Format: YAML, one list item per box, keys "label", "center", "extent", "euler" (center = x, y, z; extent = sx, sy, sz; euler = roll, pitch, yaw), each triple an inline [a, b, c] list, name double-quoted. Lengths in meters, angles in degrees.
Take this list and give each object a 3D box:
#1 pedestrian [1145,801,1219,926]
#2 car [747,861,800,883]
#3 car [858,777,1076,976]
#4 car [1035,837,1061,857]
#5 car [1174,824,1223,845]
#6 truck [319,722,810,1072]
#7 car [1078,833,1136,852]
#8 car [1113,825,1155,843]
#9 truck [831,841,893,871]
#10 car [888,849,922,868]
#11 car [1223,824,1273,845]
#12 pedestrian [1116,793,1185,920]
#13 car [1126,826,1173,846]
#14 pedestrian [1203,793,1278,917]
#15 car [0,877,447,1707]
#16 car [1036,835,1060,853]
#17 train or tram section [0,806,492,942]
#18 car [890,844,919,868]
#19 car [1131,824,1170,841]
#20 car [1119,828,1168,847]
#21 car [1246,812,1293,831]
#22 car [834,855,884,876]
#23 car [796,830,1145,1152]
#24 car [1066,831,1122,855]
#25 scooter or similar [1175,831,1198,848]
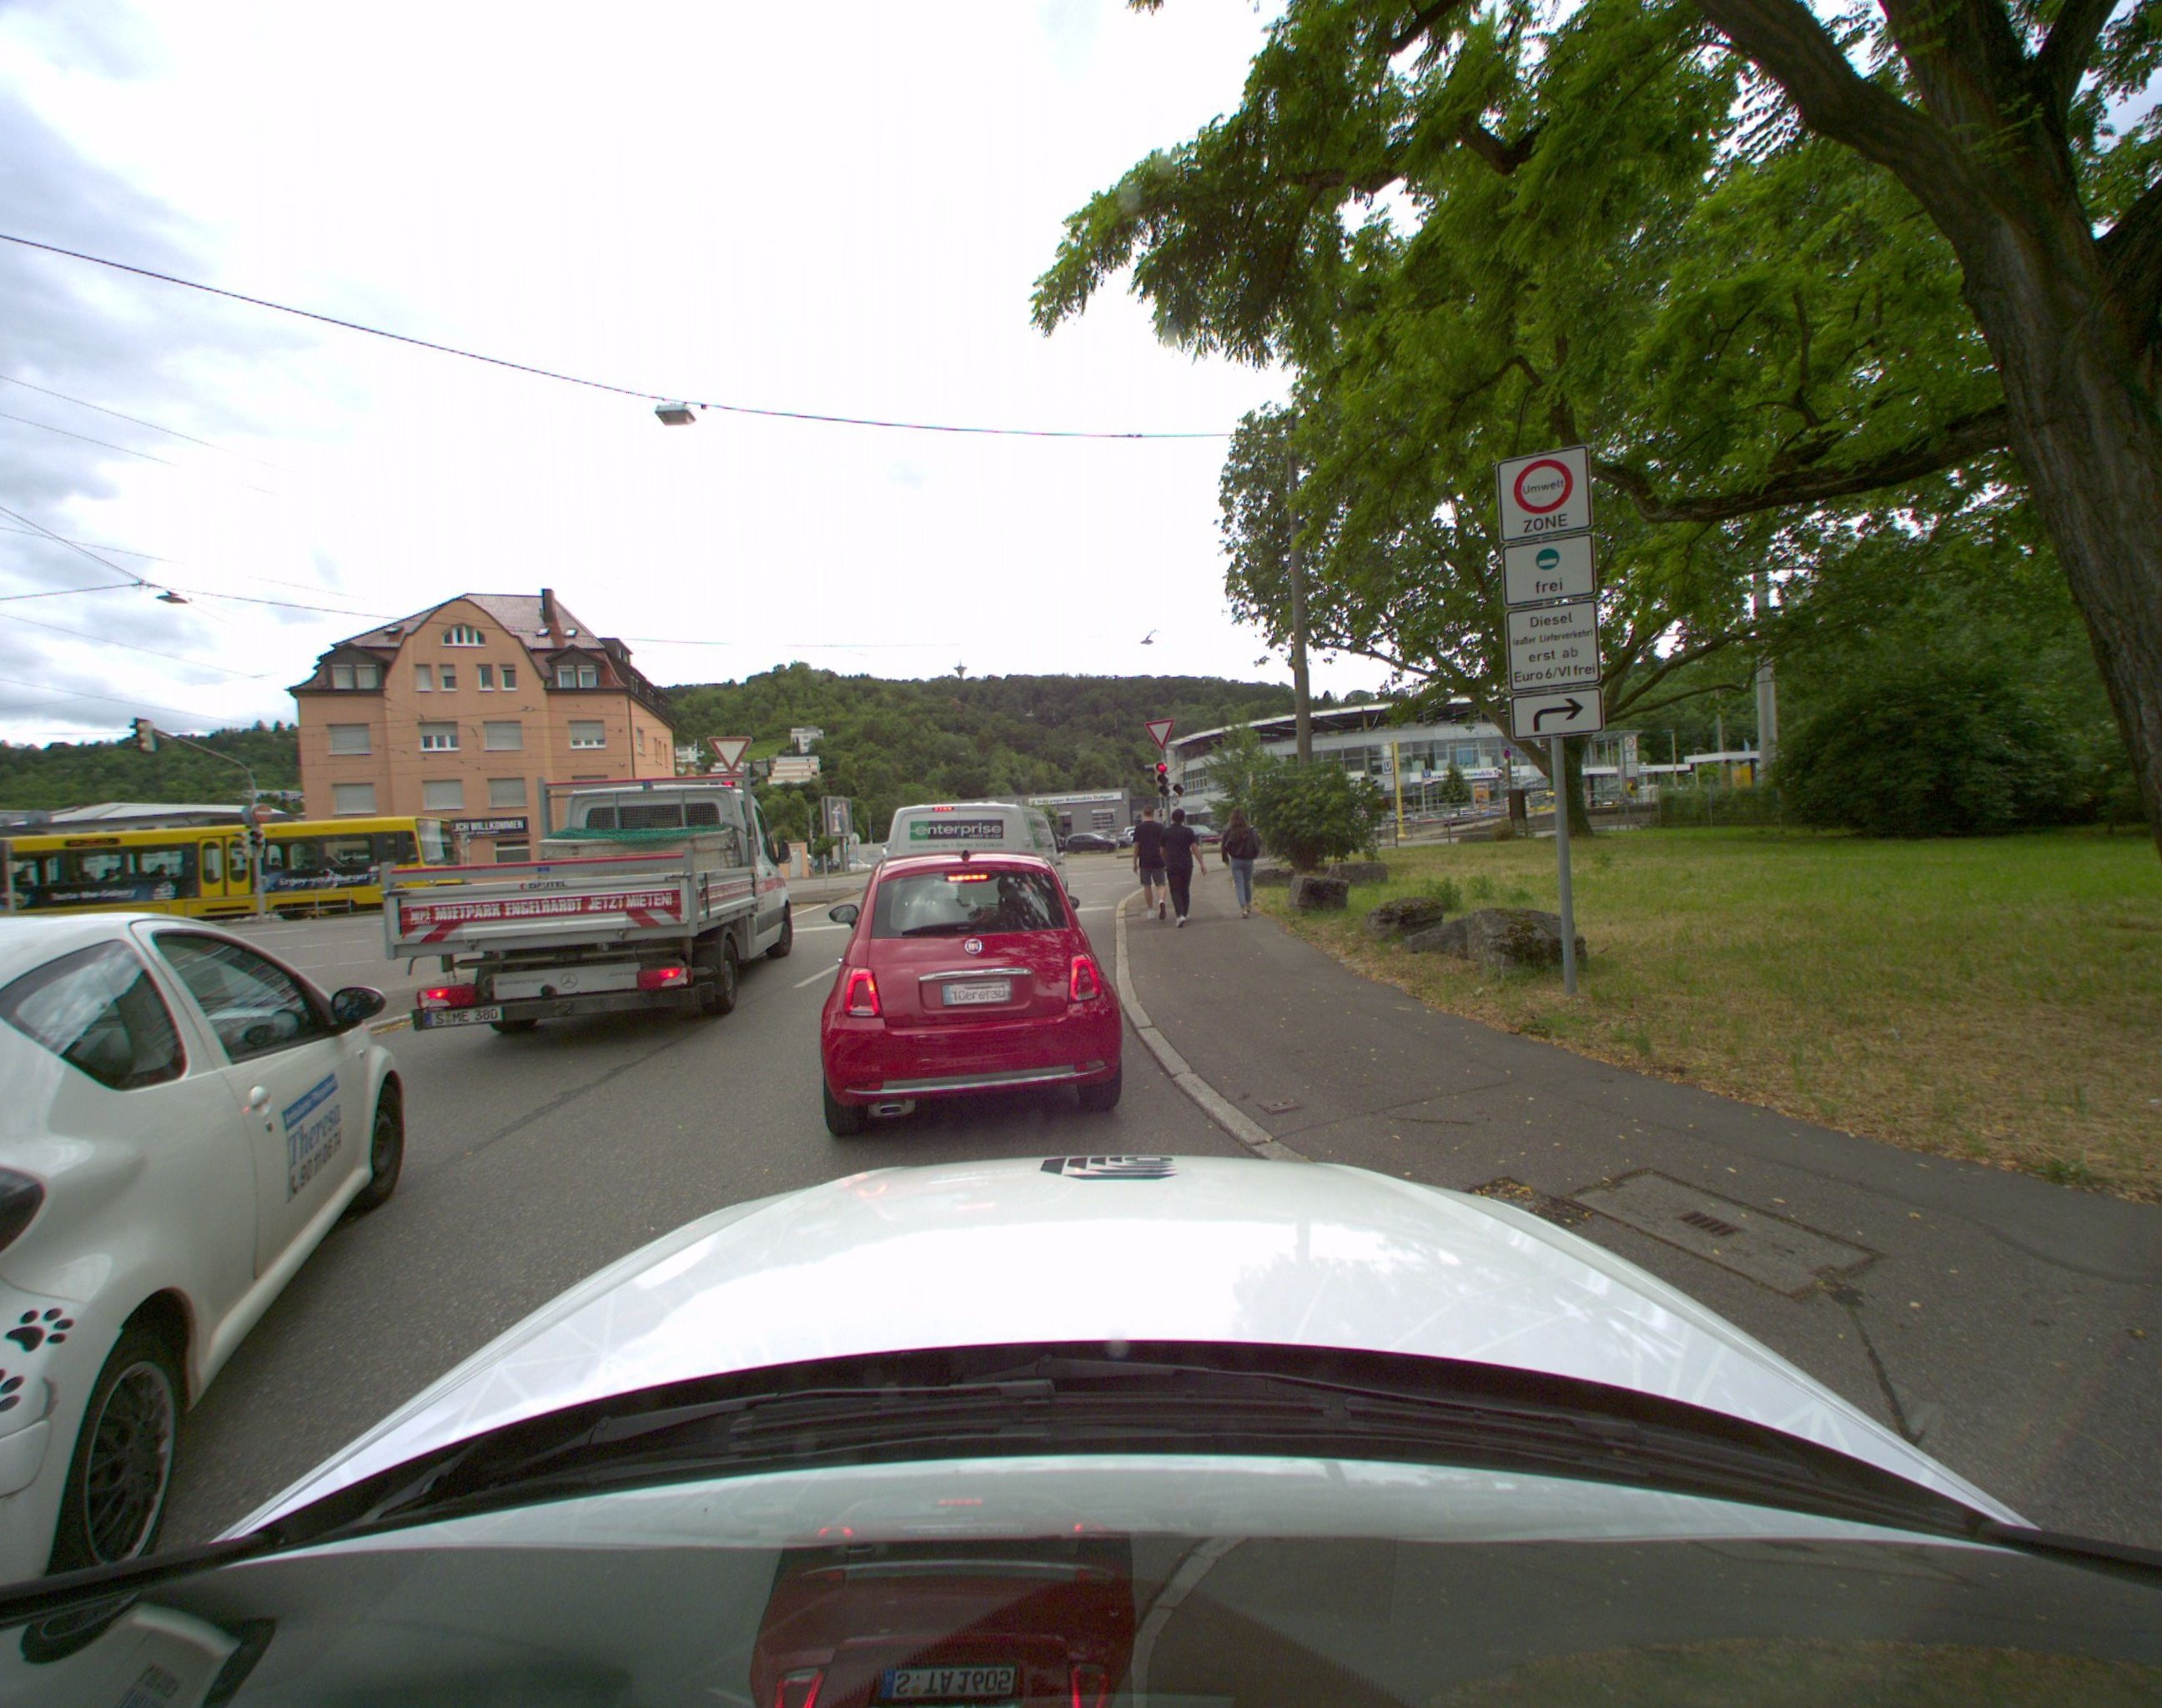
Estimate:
- label: "pedestrian"
  center: [1.470, 0.129, 11.944]
  extent: [0.695, 1.714, 0.784]
  euler: [-4, 1, -17]
- label: "car"
  center: [-26.976, 1.539, 71.526]
  extent: [4.218, 1.533, 1.763]
  euler: [-4, 1, -21]
- label: "car"
  center: [-1.304, 0.201, 11.530]
  extent: [1.981, 2.106, 4.766]
  euler: [-4, 1, 4]
- label: "car"
  center: [-3.169, -0.706, 79.115]
  extent: [1.985, 1.815, 4.004]
  euler: [-4, 1, 3]
- label: "car"
  center: [9.399, -1.537, 65.194]
  extent: [1.782, 1.500, 3.843]
  euler: [-4, 1, -31]
- label: "truck"
  center: [-4.746, 0.254, 9.012]
  extent: [2.423, 2.397, 6.005]
  euler: [-4, 1, -11]
- label: "car"
  center: [2.237, -0.997, 70.736]
  extent: [4.637, 1.327, 1.783]
  euler: [-4, 1, 15]
- label: "car"
  center: [6.270, -2.407, 96.340]
  extent: [4.774, 1.802, 1.778]
  euler: [-4, 1, 4]
- label: "truck"
  center: [-20.626, 0.183, 76.604]
  extent: [5.212, 2.393, 1.983]
  euler: [-4, 1, -27]
- label: "car"
  center: [-16.258, 0.441, 75.281]
  extent: [1.782, 1.533, 4.050]
  euler: [-4, 1, -31]
- label: "car"
  center: [13.681, -1.617, 66.813]
  extent: [1.781, 1.500, 3.984]
  euler: [-4, 1, -29]
- label: "pedestrian"
  center: [1.066, 0.031, 12.632]
  extent: [0.695, 1.857, 0.784]
  euler: [-4, 1, -17]
- label: "car"
  center: [7.101, -1.863, 84.713]
  extent: [4.774, 1.802, 1.778]
  euler: [-4, 1, 4]
- label: "pedestrian"
  center: [2.375, 0.009, 12.183]
  extent: [0.695, 1.739, 0.784]
  euler: [-4, 1, -17]
- label: "car"
  center: [-3.347, 0.867, 2.498]
  extent: [1.649, 1.432, 3.398]
  euler: [-5, 1, -30]
- label: "car"
  center: [-3.137, -0.965, 79.085]
  extent: [1.762, 1.533, 4.096]
  euler: [-4, 1, 4]
- label: "train or tram section"
  center: [-32.288, 0.784, 28.453]
  extent: [19.121, 3.665, 3.265]
  euler: [-4, 1, -11]
- label: "car"
  center: [-14.888, 0.140, 68.898]
  extent: [1.858, 1.817, 4.392]
  euler: [-4, 1, -7]
- label: "car"
  center: [8.618, -2.665, 101.192]
  extent: [4.774, 1.802, 1.778]
  euler: [-4, 1, 4]
- label: "car"
  center: [6.245, -1.680, 81.182]
  extent: [4.774, 1.533, 1.778]
  euler: [-4, 1, 4]
- label: "car"
  center: [18.408, -3.177, 79.611]
  extent: [1.807, 1.491, 4.163]
  euler: [-5, 2, -43]
- label: "car"
  center: [-20.011, 1.012, 73.559]
  extent: [4.209, 1.533, 1.767]
  euler: [-4, 1, -14]
- label: "car"
  center: [-0.784, 0.635, 5.713]
  extent: [1.639, 1.456, 3.420]
  euler: [-3, 1, -9]
- label: "car"
  center: [0.990, -0.826, 61.627]
  extent: [3.837, 1.500, 1.784]
  euler: [-3, 1, 18]
- label: "scooter or similar"
  center: [8.068, -1.135, 62.412]
  extent: [1.658, 1.177, 0.468]
  euler: [-4, 1, 8]
